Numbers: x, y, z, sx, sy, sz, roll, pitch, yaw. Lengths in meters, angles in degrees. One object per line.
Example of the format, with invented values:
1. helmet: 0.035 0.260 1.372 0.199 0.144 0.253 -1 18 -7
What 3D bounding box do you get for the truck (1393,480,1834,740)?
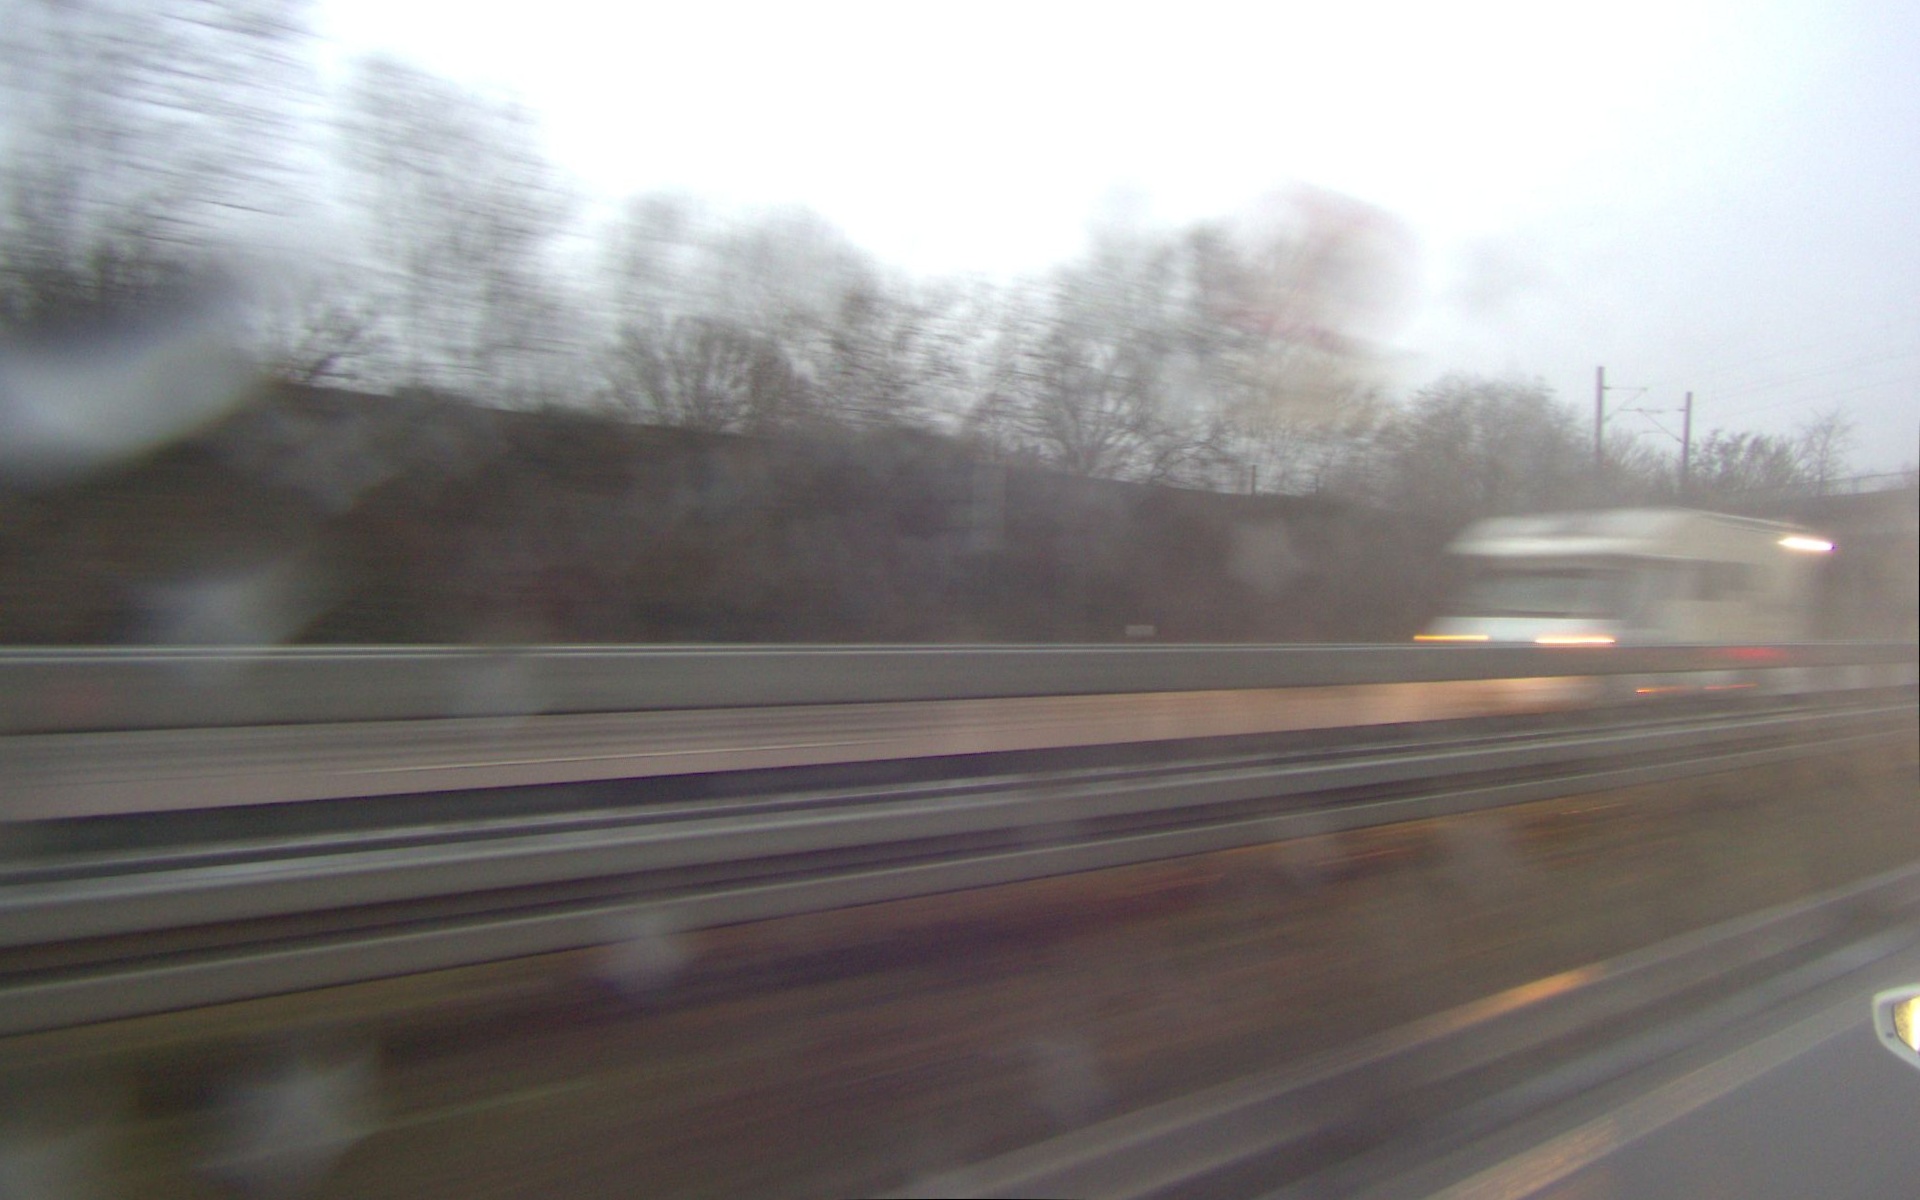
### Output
1. truck: 10.327 0.241 15.575 7.644 3.202 2.699 3 0 -32
